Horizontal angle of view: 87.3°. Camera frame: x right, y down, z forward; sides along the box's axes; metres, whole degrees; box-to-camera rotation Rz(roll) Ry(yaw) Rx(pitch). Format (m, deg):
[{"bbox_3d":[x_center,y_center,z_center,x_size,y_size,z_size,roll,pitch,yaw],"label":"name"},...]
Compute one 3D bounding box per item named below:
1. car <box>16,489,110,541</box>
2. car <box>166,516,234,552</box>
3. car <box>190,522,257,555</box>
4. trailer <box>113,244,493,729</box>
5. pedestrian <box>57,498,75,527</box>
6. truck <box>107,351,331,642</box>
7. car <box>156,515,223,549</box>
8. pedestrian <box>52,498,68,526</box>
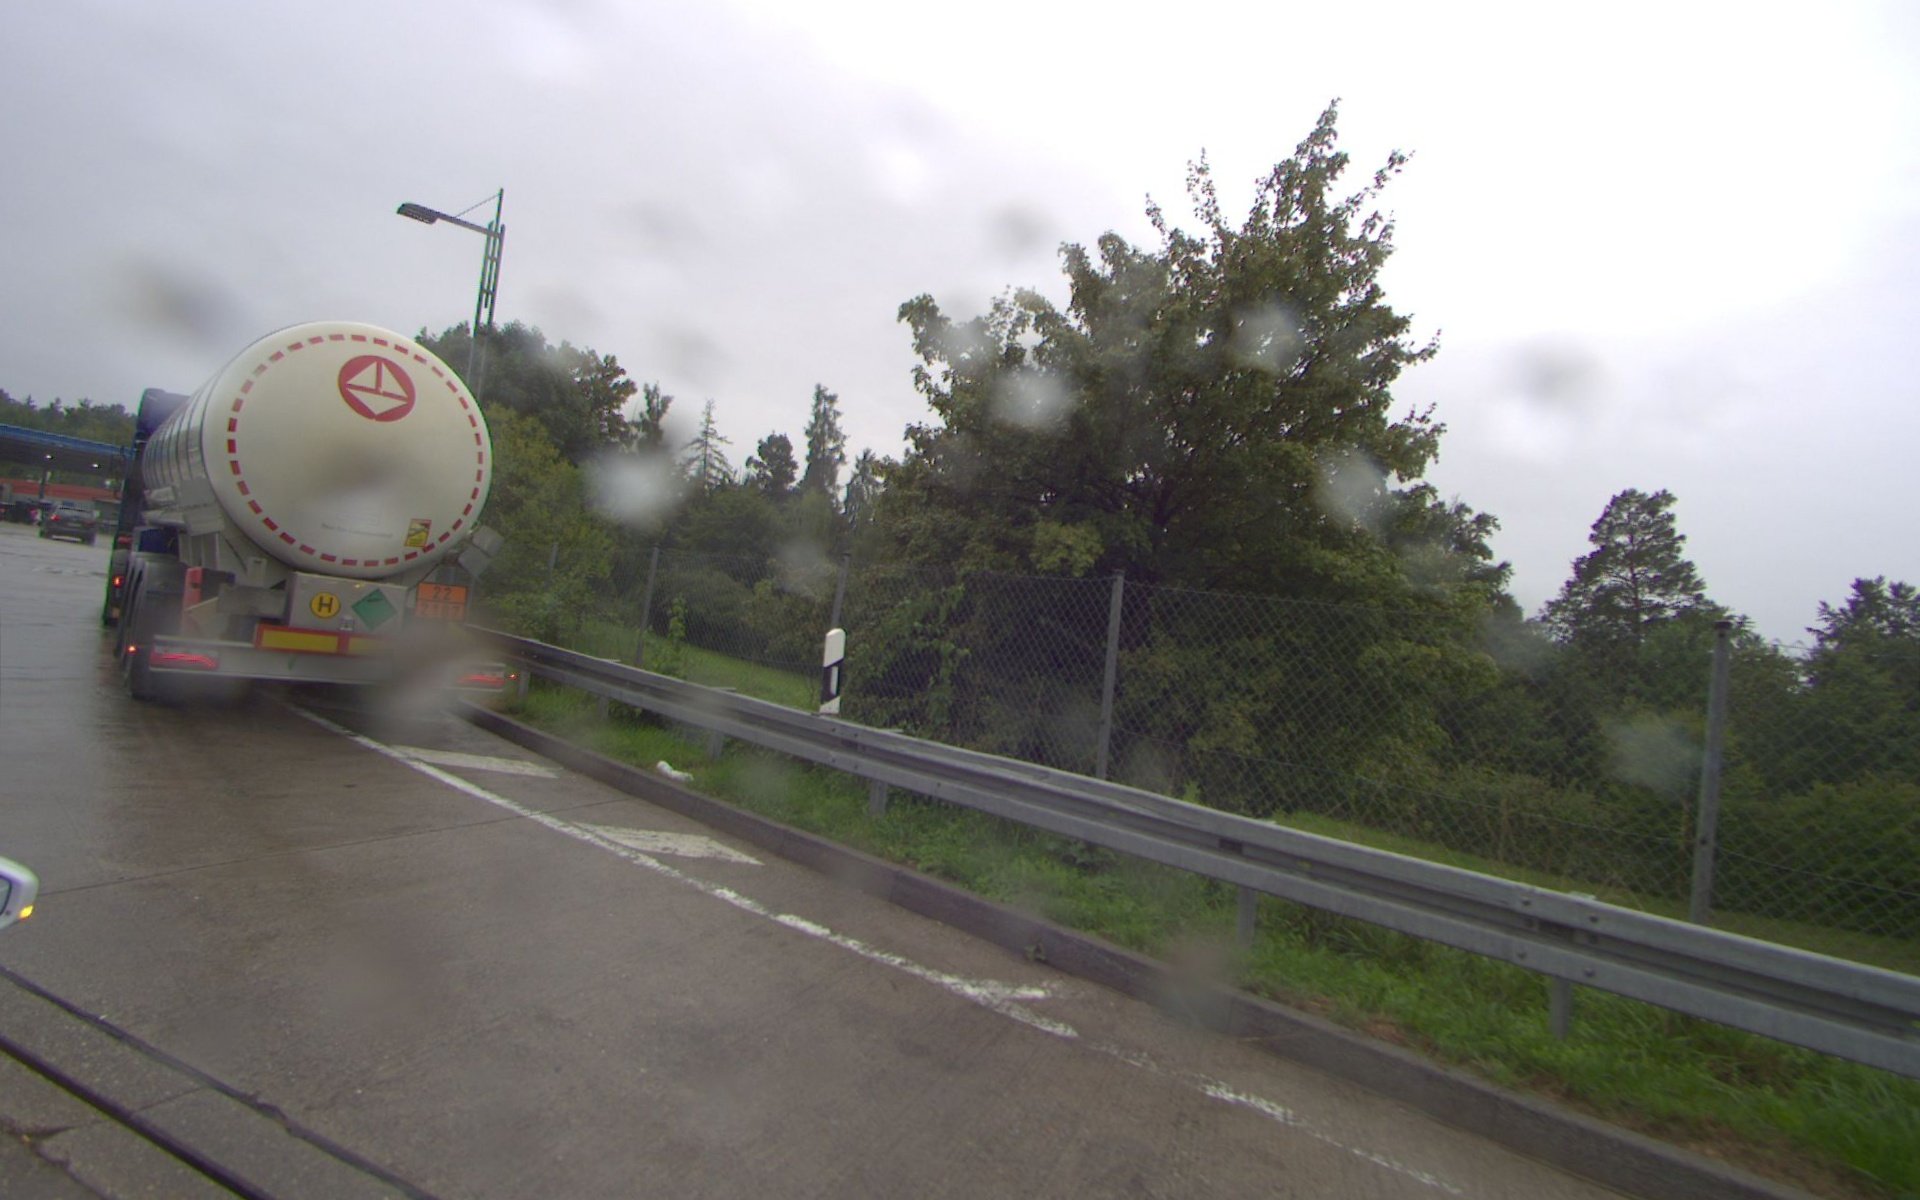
[{"bbox_3d":[-43.625,-4.142,48.918,3.932,2.033,2.002,4,-6,29],"label":"car"},{"bbox_3d":[-55.222,-4.775,73.183,2.085,1.959,4.186,8,-2,-10],"label":"car"},{"bbox_3d":[-52.017,-4.307,71.156,2.085,1.747,3.995,8,-2,-10],"label":"car"},{"bbox_3d":[-8.064,-0.997,11.430,1.974,3.261,10.205,9,-3,-40],"label":"trailer"},{"bbox_3d":[-68.918,-6.733,77.548,0.667,2.034,0.736,11,-6,-37],"label":"pedestrian"},{"bbox_3d":[-11.509,-1.450,15.468,2.046,3.571,4.692,9,-2,-41],"label":"truck"},{"bbox_3d":[-57.837,-5.083,75.594,2.085,1.959,4.186,8,-2,-10],"label":"car"},{"bbox_3d":[-69.906,-6.855,78.117,0.629,2.034,0.586,3,-6,44],"label":"pedestrian"}]
